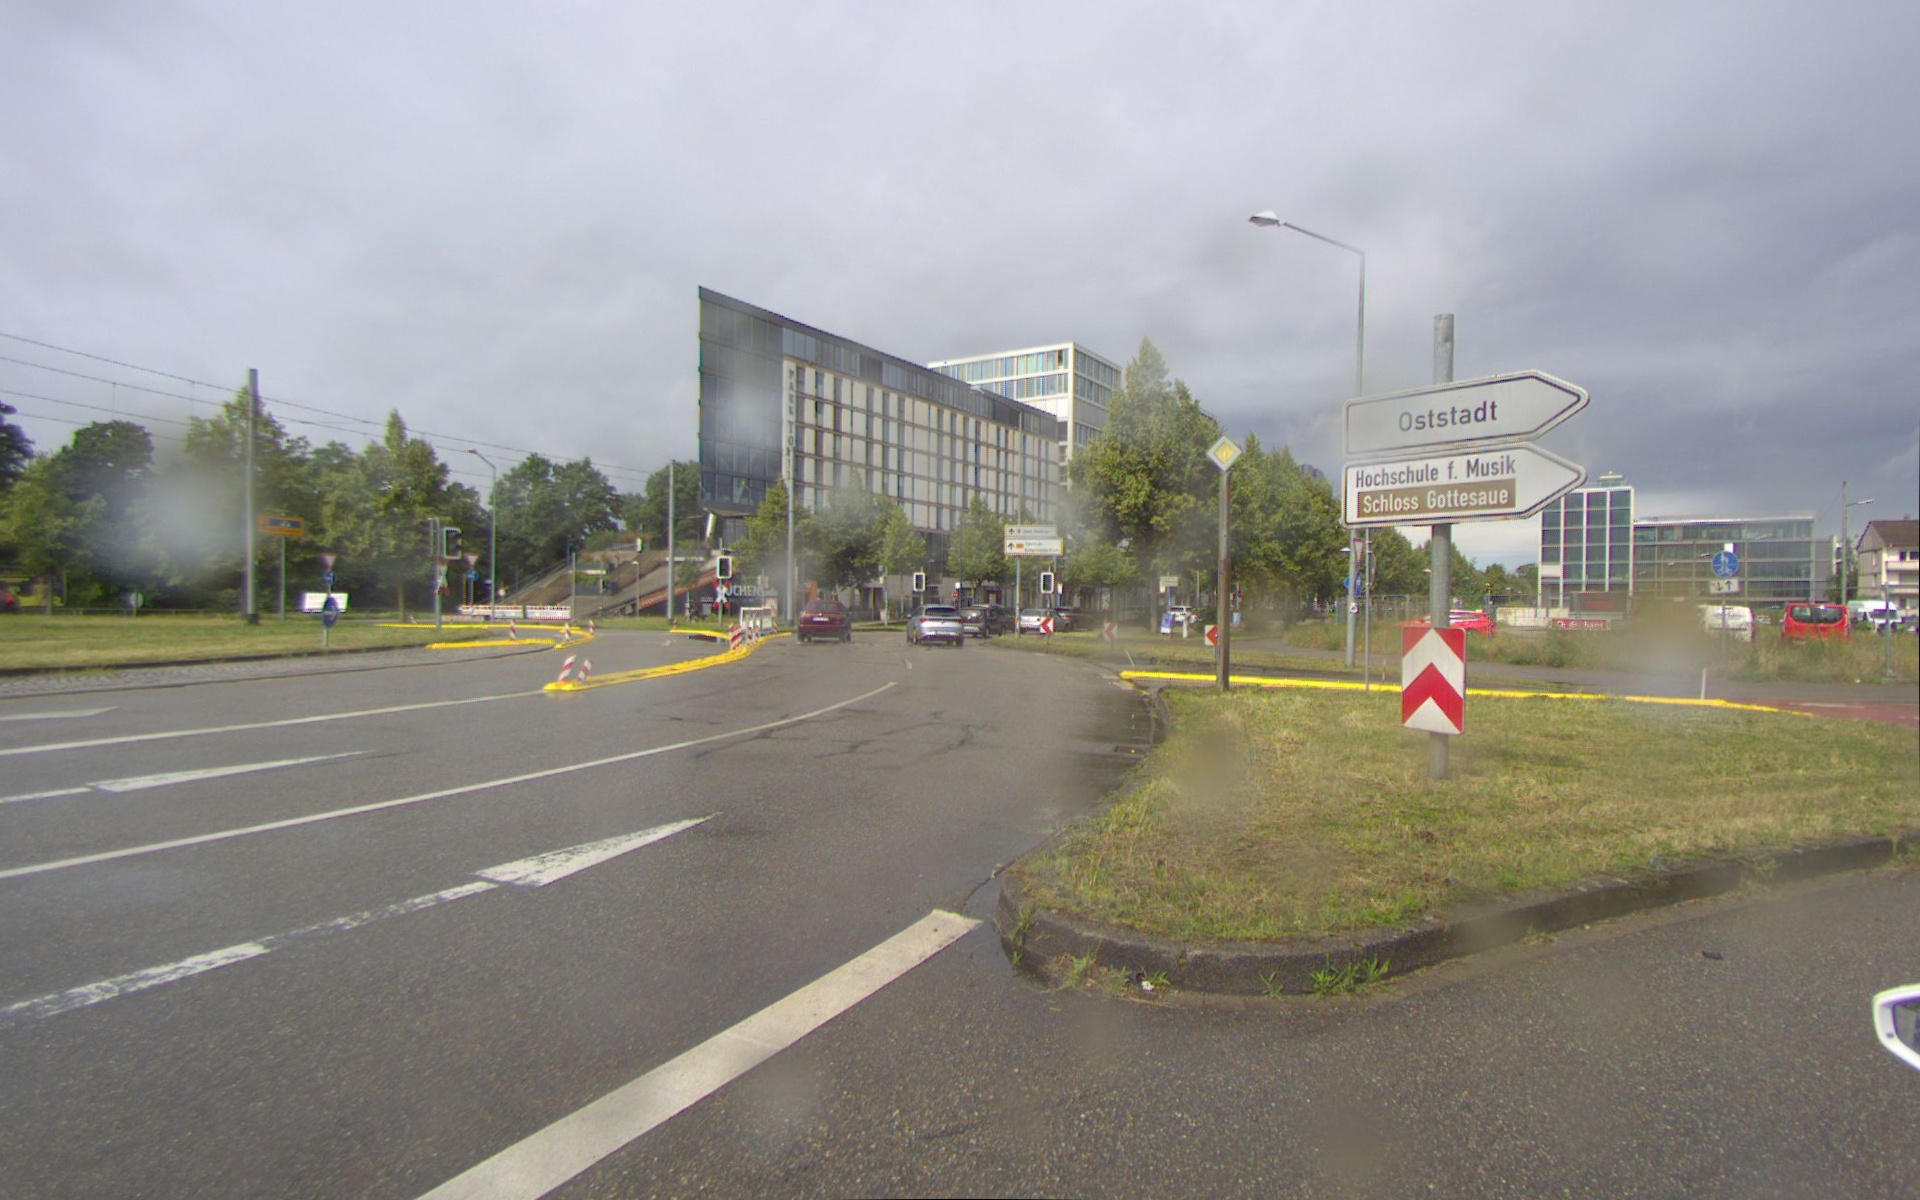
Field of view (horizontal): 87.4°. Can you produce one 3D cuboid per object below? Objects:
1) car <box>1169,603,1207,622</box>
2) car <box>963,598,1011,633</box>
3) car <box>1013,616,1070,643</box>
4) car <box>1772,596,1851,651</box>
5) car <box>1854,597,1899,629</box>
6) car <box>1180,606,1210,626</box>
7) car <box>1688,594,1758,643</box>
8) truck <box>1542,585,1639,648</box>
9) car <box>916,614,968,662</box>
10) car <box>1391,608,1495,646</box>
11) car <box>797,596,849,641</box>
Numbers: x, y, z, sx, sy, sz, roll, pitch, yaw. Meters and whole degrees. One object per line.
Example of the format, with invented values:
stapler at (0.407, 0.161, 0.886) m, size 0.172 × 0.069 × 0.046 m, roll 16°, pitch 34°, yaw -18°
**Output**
car at (18.982, 1.045, 83.616) m, size 1.480 × 1.530 × 3.478 m, roll 3°, pitch 1°, yaw 45°
car at (1.328, 0.722, 48.025) m, size 1.519 × 1.581 × 3.501 m, roll 0°, pitch 0°, yaw 16°
car at (4.671, 1.655, 57.241) m, size 1.673 × 1.386 × 3.837 m, roll 1°, pitch 0°, yaw 31°
car at (30.604, 0.790, 36.207) m, size 1.899 × 1.723 × 3.984 m, roll 1°, pitch 2°, yaw 37°
car at (67.322, 0.928, 73.880) m, size 2.346 × 2.113 × 4.943 m, roll 1°, pitch 3°, yaw 42°
car at (18.692, 1.239, 79.789) m, size 1.473 × 1.530 × 3.494 m, roll 2°, pitch 0°, yaw 29°
car at (30.223, 0.680, 39.885) m, size 1.826 × 1.723 × 3.989 m, roll 1°, pitch 2°, yaw 32°
truck at (25.437, 0.565, 40.384) m, size 2.362 × 2.241 × 6.068 m, roll 1°, pitch 2°, yaw 41°
car at (-0.682, 1.300, 35.823) m, size 1.570 × 1.581 × 3.547 m, roll 0°, pitch 0°, yaw -5°
car at (21.884, 1.179, 45.543) m, size 4.117 × 1.531 × 1.854 m, roll 0°, pitch 2°, yaw 30°
car at (-4.767, 0.645, 35.266) m, size 1.688 × 1.482 × 3.996 m, roll 0°, pitch -1°, yaw -6°
